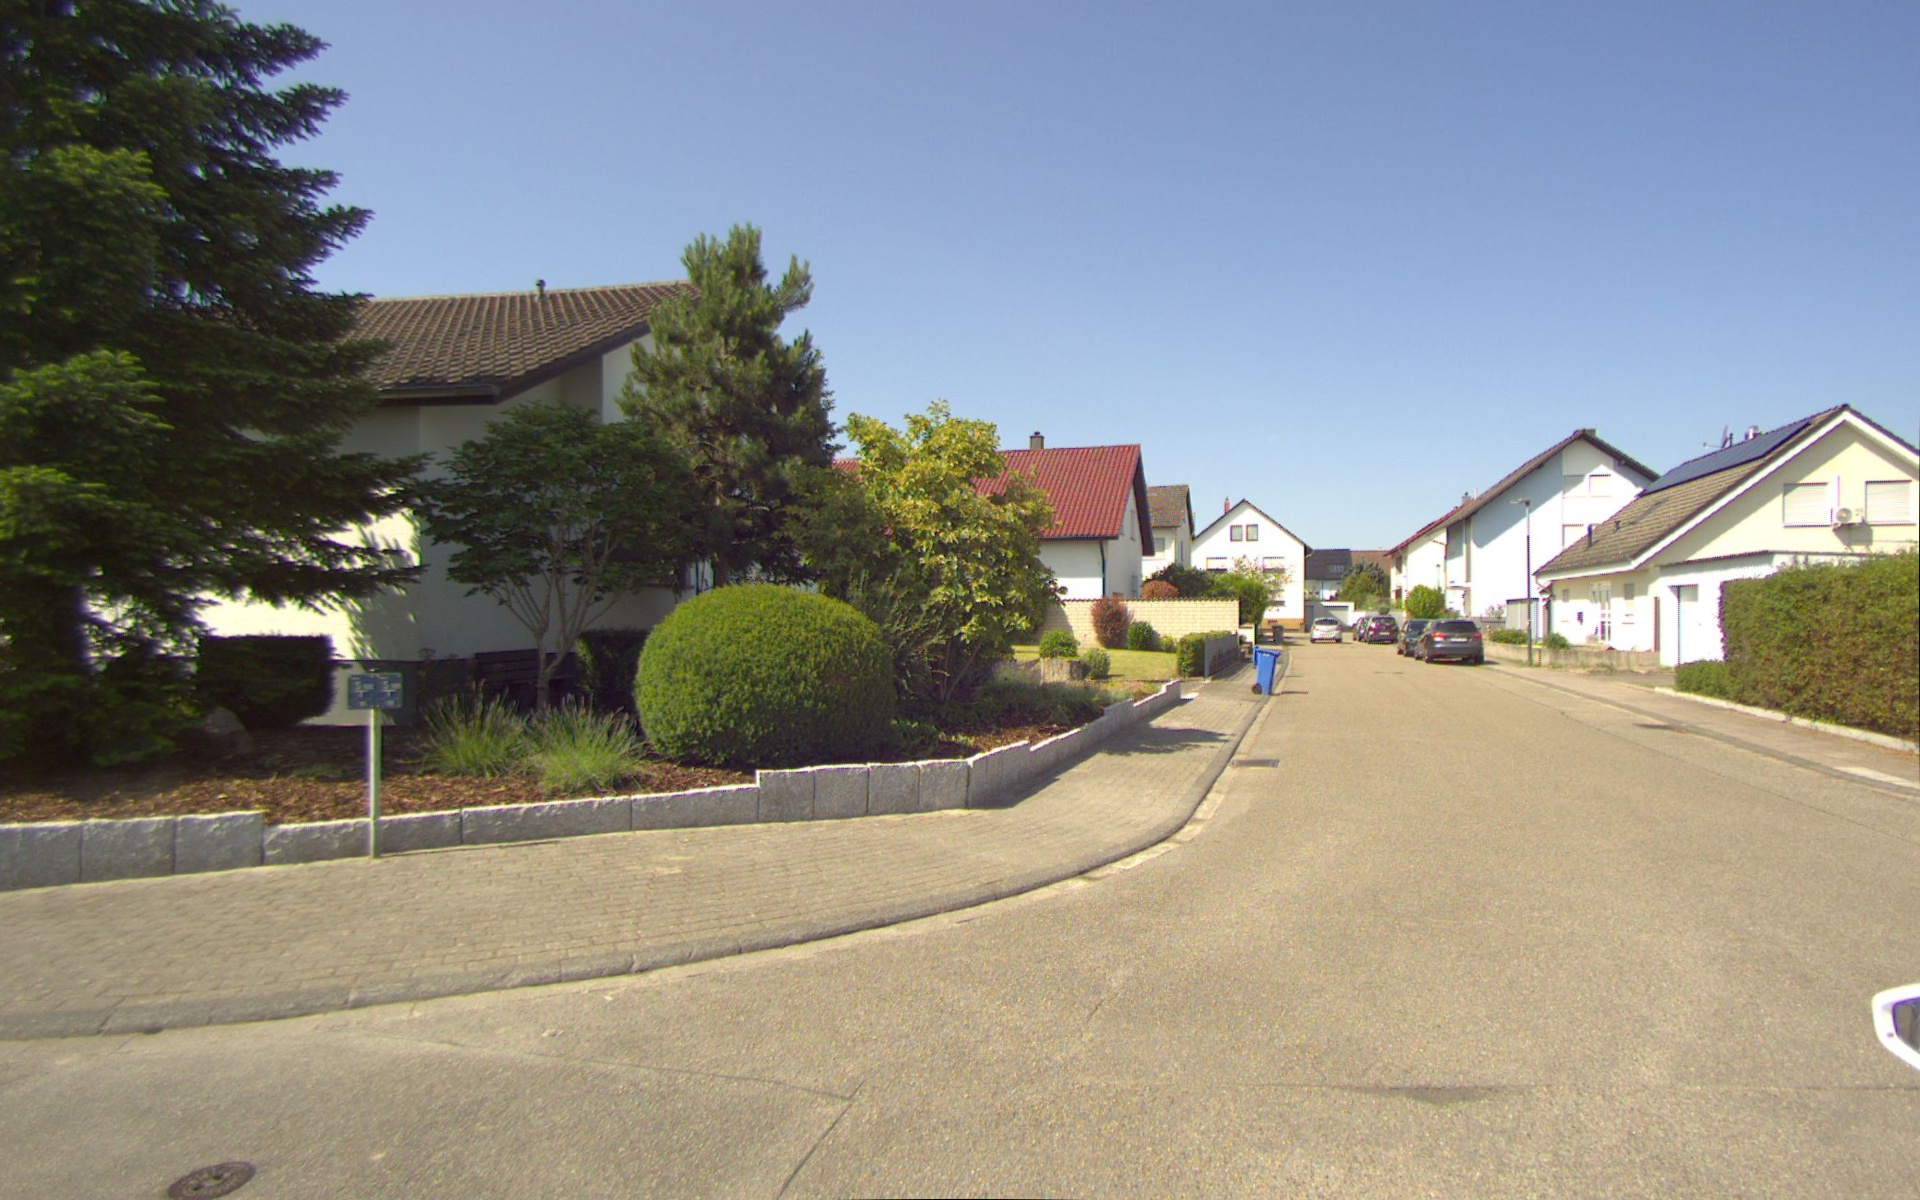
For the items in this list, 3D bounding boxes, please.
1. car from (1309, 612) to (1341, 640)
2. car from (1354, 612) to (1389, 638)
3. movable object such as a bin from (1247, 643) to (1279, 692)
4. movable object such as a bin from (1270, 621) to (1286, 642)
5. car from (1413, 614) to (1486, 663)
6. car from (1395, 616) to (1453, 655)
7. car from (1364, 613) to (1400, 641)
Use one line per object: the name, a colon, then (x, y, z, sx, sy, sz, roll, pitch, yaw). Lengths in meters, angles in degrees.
car: (21.584, 1.510, 59.522, 1.618, 1.602, 3.810, 0, -1, 18)
car: (26.411, 1.583, 64.513, 1.617, 1.566, 4.049, 0, -1, 16)
movable object such as a bin: (6.118, 1.359, 20.272, 0.573, 0.928, 0.598, 1, 0, 19)
movable object such as a bin: (17.188, 1.698, 54.293, 0.804, 1.077, 0.611, 0, -1, 17)
car: (16.741, 1.270, 34.533, 1.614, 1.498, 4.001, 2, 0, 17)
car: (18.487, 1.366, 40.198, 1.689, 1.457, 4.503, 0, -1, 19)
car: (25.033, 1.569, 59.734, 1.618, 1.602, 4.148, 0, -1, 18)
